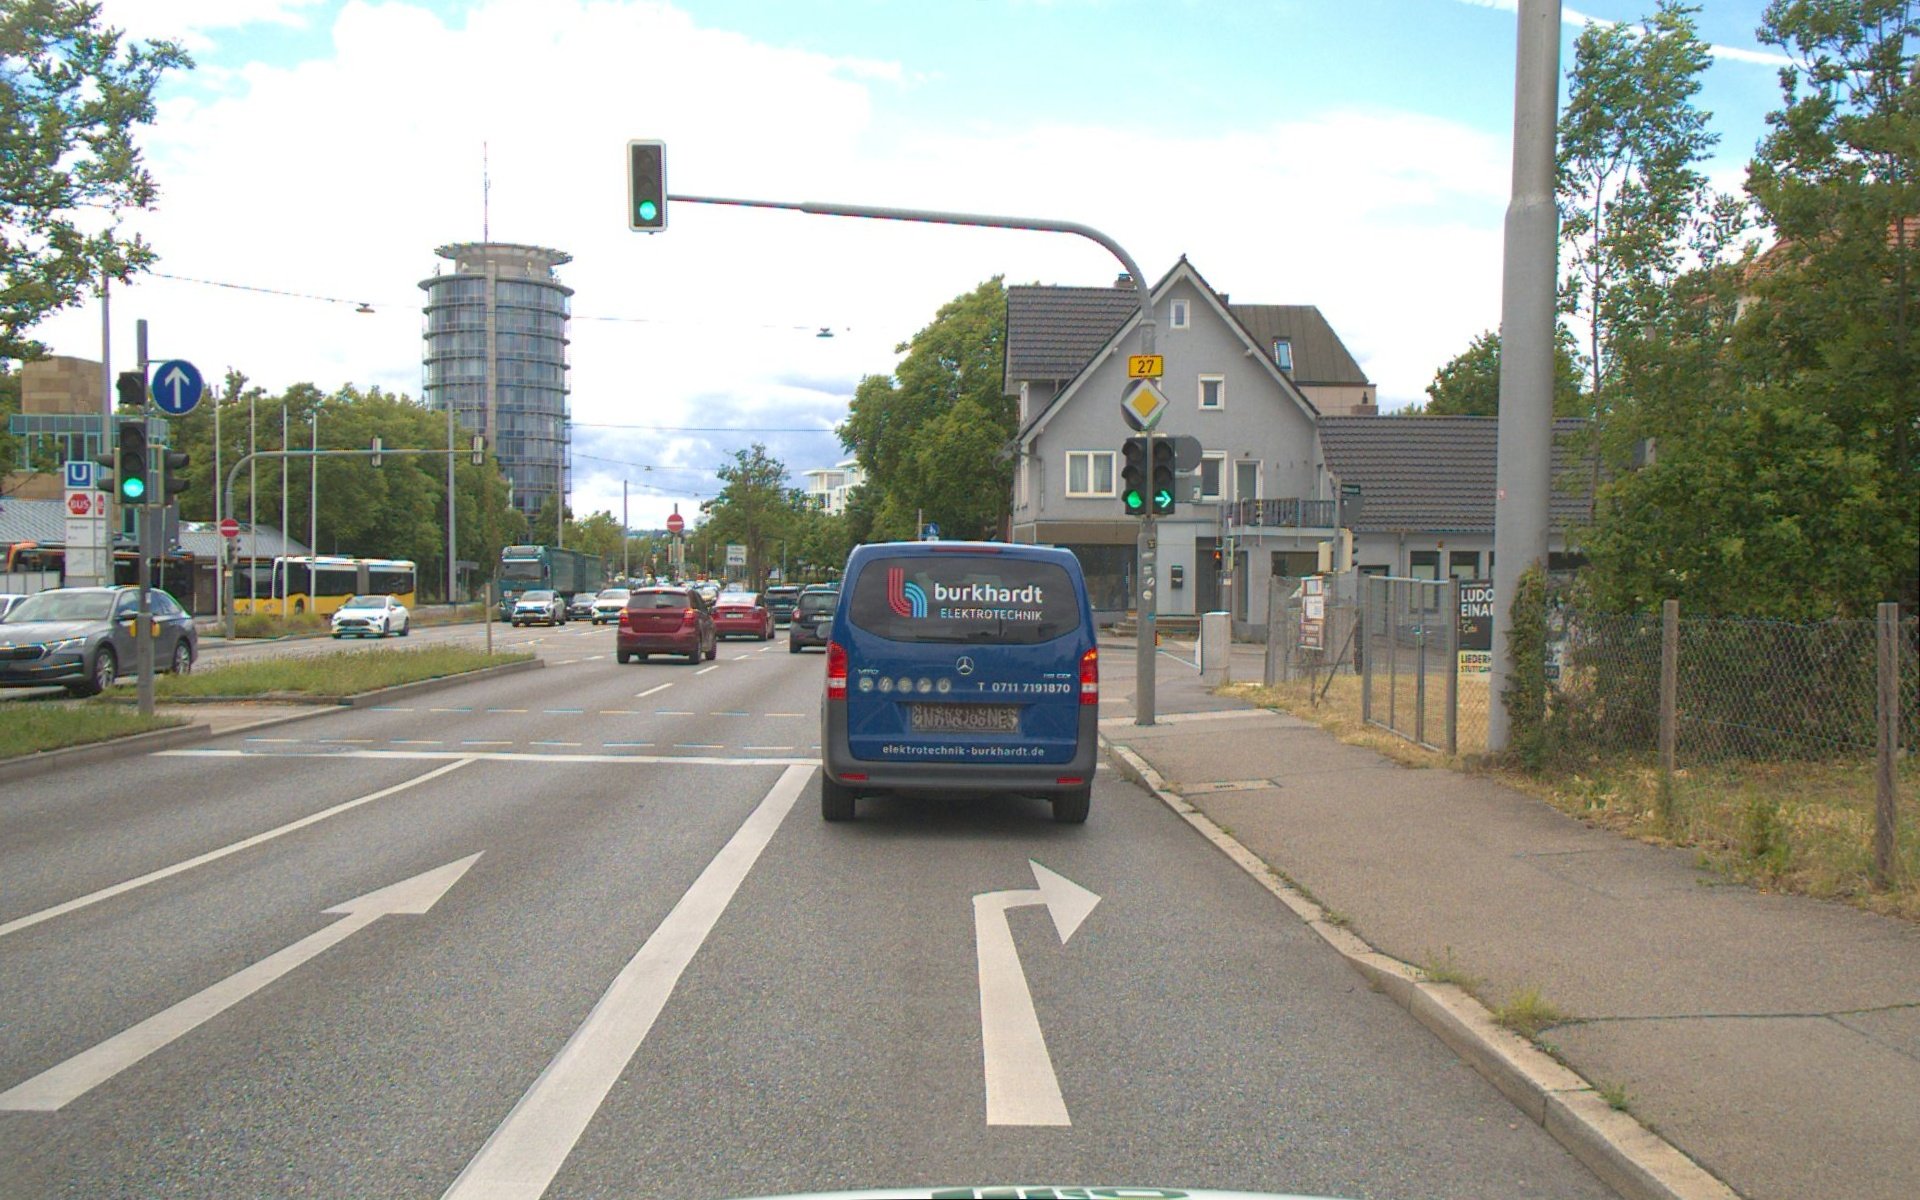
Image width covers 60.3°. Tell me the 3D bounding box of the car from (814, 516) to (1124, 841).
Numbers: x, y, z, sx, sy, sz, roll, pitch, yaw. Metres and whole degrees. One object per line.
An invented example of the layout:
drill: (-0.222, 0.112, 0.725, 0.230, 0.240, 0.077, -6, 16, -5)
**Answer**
car: (-0.064, 0.490, 12.547, 1.909, 2.000, 4.538, 1, 0, -3)

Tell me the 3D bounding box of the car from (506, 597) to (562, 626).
car: (-19.455, 0.512, 75.628, 1.793, 1.284, 3.996, -1, 0, -4)

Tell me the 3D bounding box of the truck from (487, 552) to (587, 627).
truck: (-23.145, -0.526, 91.093, 3.302, 3.792, 11.270, 1, 0, -4)

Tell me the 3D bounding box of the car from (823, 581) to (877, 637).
car: (-3.604, 0.267, 54.447, 1.712, 1.753, 3.997, 0, 0, -4)

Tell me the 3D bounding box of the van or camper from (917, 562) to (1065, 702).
van or camper: (0.626, 0.426, 27.883, 1.951, 2.048, 5.100, 2, 2, 6)

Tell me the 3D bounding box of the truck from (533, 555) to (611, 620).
truck: (-23.739, -0.727, 101.611, 3.301, 3.792, 8.021, -1, 0, -3)

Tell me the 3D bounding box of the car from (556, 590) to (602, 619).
car: (-20.196, 0.224, 87.796, 1.761, 1.442, 3.997, -1, 0, -3)

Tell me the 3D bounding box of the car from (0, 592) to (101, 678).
car: (-18.741, 0.652, 32.567, 1.591, 1.601, 3.999, 0, 0, -1)

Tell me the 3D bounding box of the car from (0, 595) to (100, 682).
car: (-18.817, 0.713, 32.522, 1.712, 1.544, 3.999, 3, 0, -1)

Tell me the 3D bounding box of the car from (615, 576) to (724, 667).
car: (-5.981, 0.407, 34.418, 1.711, 1.753, 3.998, 0, 0, -3)

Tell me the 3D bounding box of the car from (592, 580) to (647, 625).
car: (-15.966, 0.095, 77.747, 1.954, 2.049, 4.176, -1, 0, -3)

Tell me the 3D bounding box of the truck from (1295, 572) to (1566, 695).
truck: (11.936, 0.838, 42.237, 6.258, 2.748, 1.999, 3, 0, -2)

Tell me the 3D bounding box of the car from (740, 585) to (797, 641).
car: (-7.494, 0.484, 64.467, 1.957, 2.048, 3.991, 1, 1, -10)

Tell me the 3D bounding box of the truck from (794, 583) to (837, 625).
truck: (-8.024, 0.207, 92.383, 1.953, 2.203, 5.558, 2, 0, -1)

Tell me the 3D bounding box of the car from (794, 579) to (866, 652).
car: (-3.265, 0.354, 41.666, 1.712, 1.753, 3.996, 0, 0, -4)

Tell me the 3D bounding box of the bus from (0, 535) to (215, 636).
bus: (-30.870, -0.468, 58.534, 2.895, 3.188, 12.164, 1, 0, 3)

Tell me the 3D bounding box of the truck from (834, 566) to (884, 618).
truck: (-4.527, -0.369, 74.655, 1.953, 2.203, 5.558, 2, 0, -1)

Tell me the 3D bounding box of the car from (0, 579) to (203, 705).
car: (-12.468, 0.531, 23.290, 1.955, 1.601, 4.509, 0, 0, -7)

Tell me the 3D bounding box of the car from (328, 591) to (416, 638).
car: (-20.682, 0.482, 58.369, 1.698, 1.601, 4.504, 0, 0, -3)

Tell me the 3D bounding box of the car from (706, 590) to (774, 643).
car: (-6.768, 0.518, 50.577, 1.835, 1.512, 3.989, -1, -1, -11)
